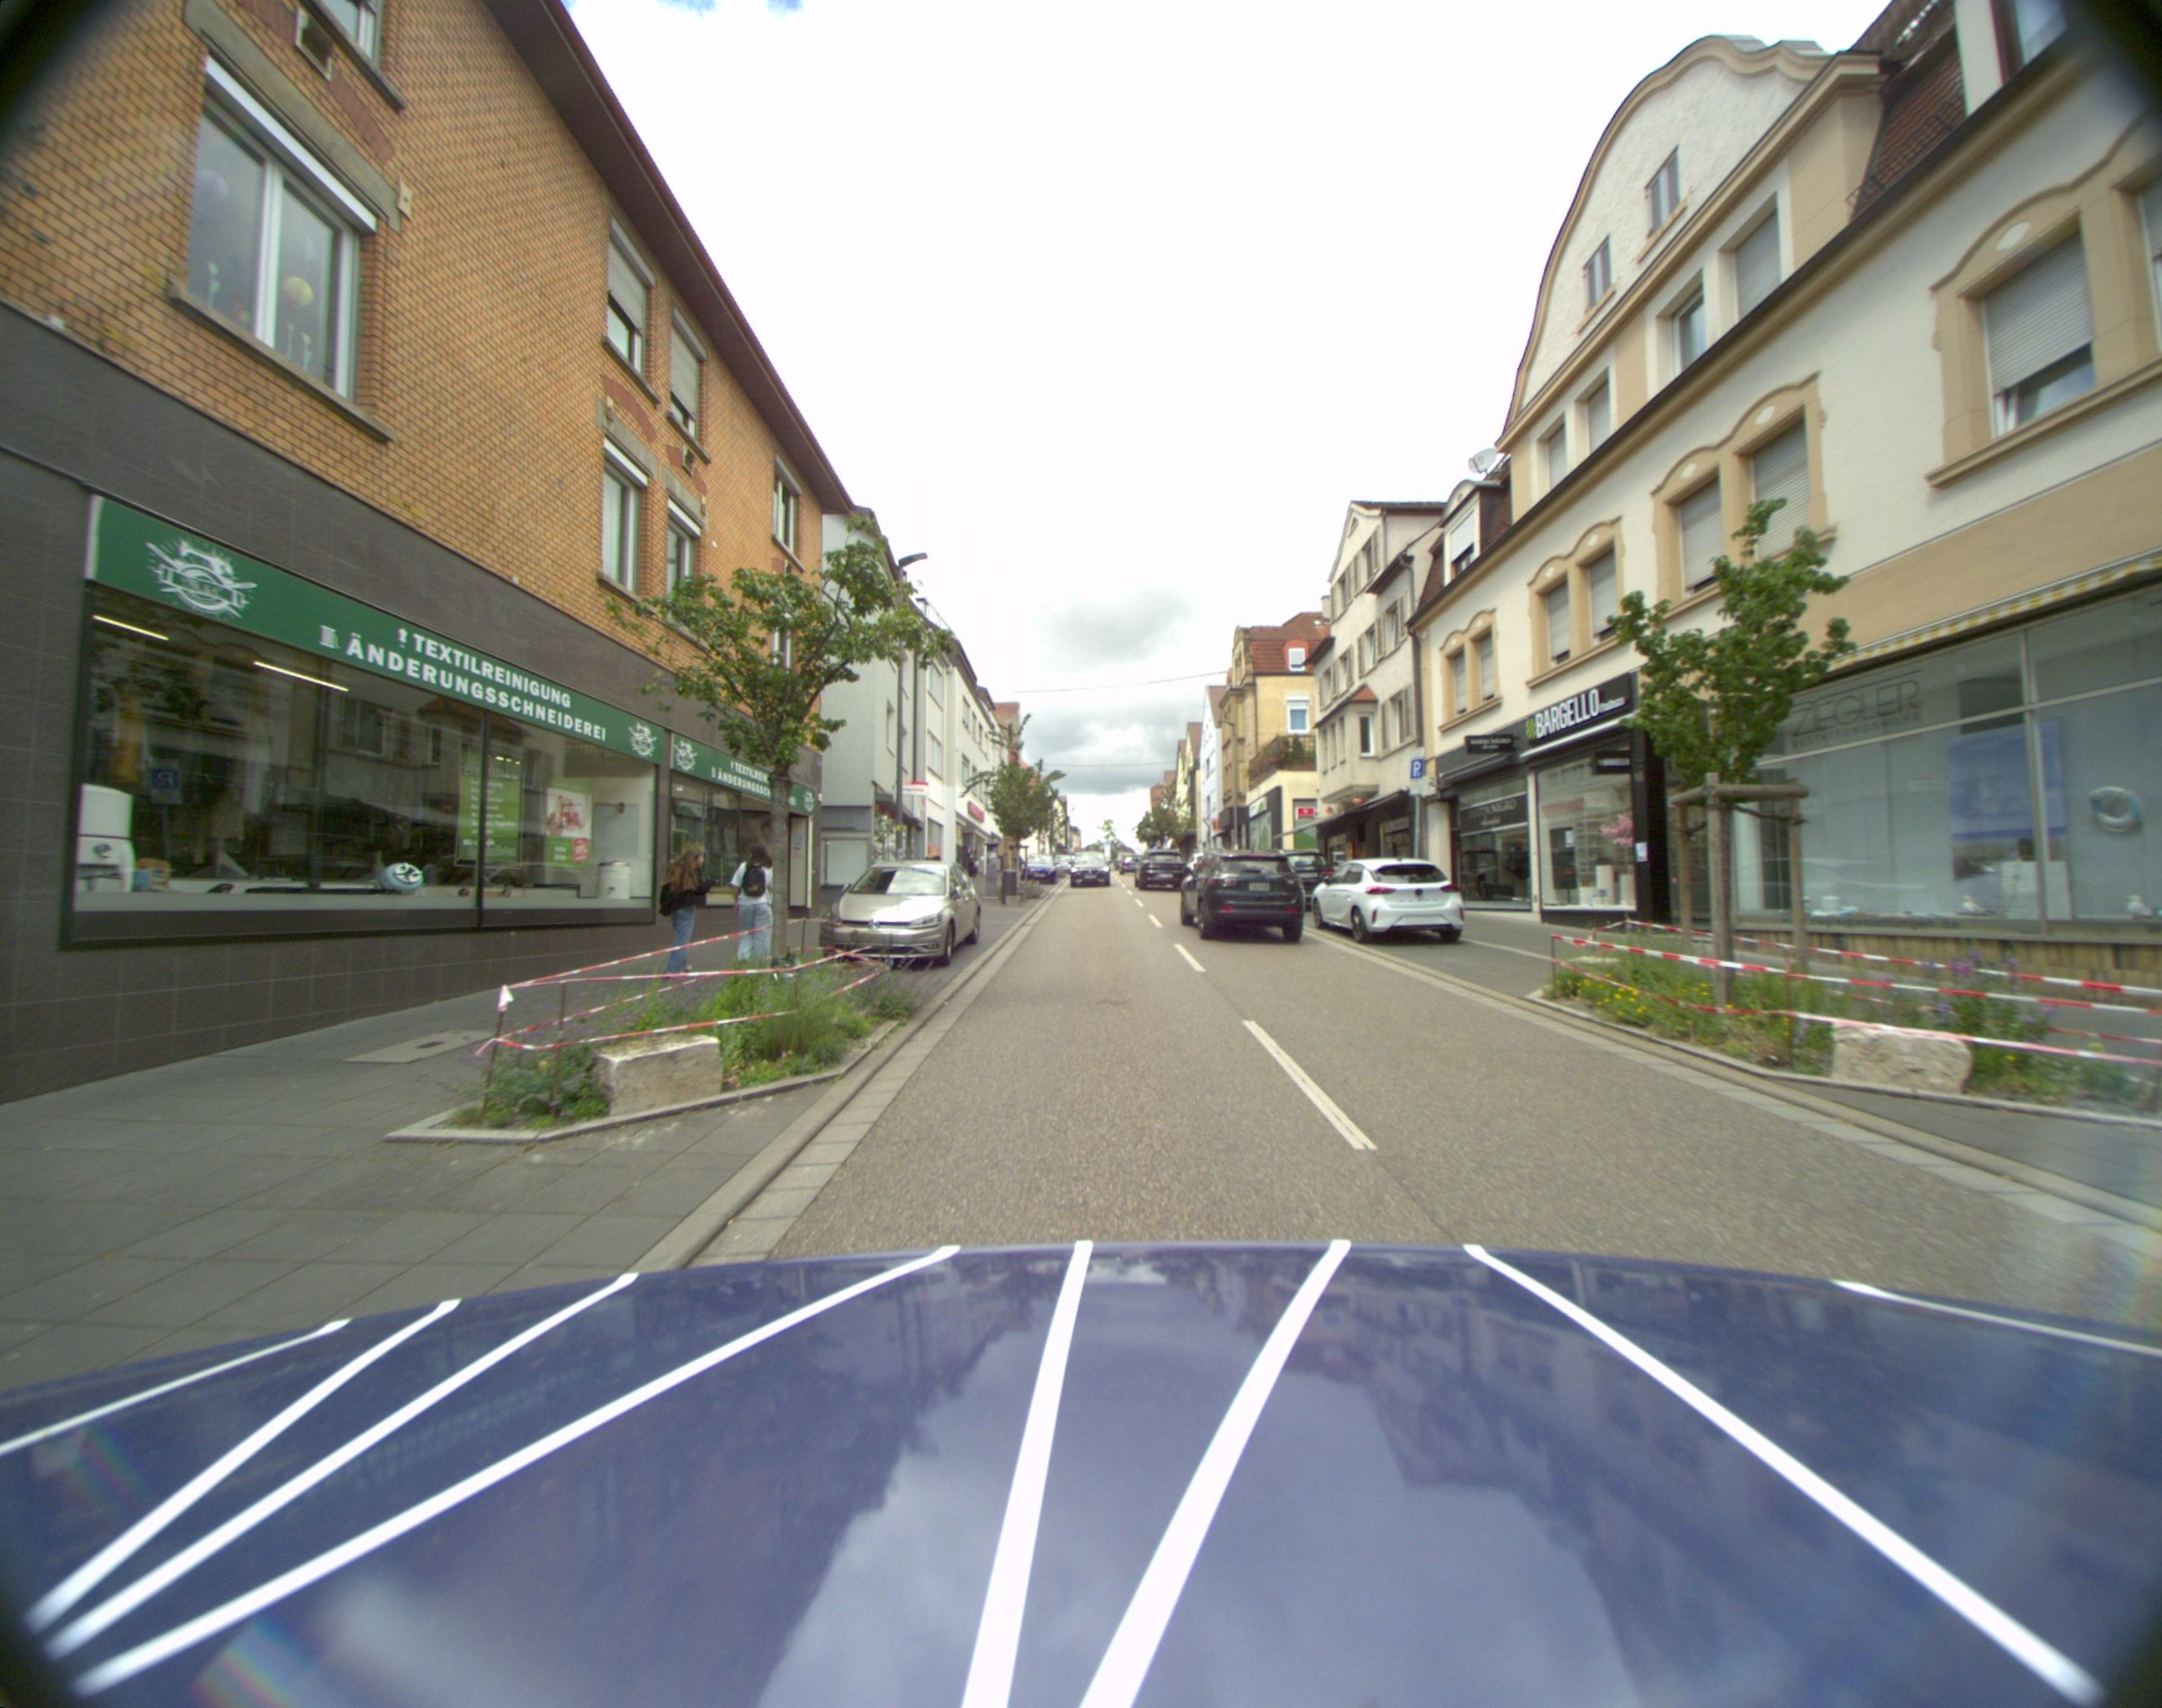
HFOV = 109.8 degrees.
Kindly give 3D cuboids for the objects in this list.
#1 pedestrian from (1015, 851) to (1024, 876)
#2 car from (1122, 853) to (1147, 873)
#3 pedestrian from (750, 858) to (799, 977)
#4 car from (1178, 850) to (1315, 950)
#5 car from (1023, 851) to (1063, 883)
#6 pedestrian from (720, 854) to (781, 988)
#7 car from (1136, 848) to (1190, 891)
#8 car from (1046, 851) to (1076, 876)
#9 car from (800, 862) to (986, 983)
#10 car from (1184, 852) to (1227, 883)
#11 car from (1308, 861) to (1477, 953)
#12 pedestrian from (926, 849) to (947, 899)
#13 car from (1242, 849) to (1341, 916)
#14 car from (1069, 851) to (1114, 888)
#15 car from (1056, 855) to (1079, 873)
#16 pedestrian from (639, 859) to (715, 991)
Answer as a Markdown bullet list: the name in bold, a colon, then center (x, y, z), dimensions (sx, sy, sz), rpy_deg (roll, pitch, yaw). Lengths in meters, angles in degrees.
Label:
- **pedestrian**: center (-3.851, 0.598, 47.732), dimensions (0.549, 1.515, 0.412), rpy_deg (0, 1, 1)
- **car**: center (3.891, 0.631, 55.986), dimensions (1.690, 1.403, 3.529), rpy_deg (0, 0, 1)
- **pedestrian**: center (-4.110, 0.834, 10.177), dimensions (0.568, 1.531, 0.524), rpy_deg (1, 1, -24)
- **car**: center (3.004, 0.762, 14.623), dimensions (1.830, 1.679, 3.859), rpy_deg (0, 0, 1)
- **car**: center (-1.914, 0.632, 38.944), dimensions (1.774, 1.515, 3.529), rpy_deg (0, 0, 1)
- **pedestrian**: center (-4.065, 0.809, 9.383), dimensions (0.567, 1.594, 0.525), rpy_deg (1, 1, -13)
- **car**: center (3.338, 0.600, 31.537), dimensions (1.894, 1.670, 3.736), rpy_deg (1, 0, 1)
- **car**: center (-1.263, 0.598, 48.950), dimensions (1.774, 1.515, 3.529), rpy_deg (0, 0, 1)
- **car**: center (-2.674, 0.910, 11.751), dimensions (1.816, 1.439, 3.945), rpy_deg (2, 0, 1)
- **car**: center (6.325, 0.653, 38.923), dimensions (1.690, 1.515, 3.529), rpy_deg (0, 0, 1)
- **car**: center (5.541, 0.870, 13.977), dimensions (1.732, 1.423, 3.503), rpy_deg (-1, 0, 1)
- **pedestrian**: center (-4.535, 0.613, 23.818), dimensions (0.567, 1.531, 0.525), rpy_deg (2, 1, -6)
- **car**: center (5.774, 0.714, 21.309), dimensions (1.732, 1.670, 3.992), rpy_deg (-1, 0, 1)
- **car**: center (0.501, 0.675, 34.597), dimensions (1.894, 1.515, 3.736), rpy_deg (-2, 0, 1)
- **car**: center (-1.102, 0.775, 61.801), dimensions (1.690, 1.365, 3.529), rpy_deg (0, 0, 1)
- **pedestrian**: center (-4.839, 0.825, 9.124), dimensions (0.556, 1.512, 0.593), rpy_deg (2, 1, 2)
